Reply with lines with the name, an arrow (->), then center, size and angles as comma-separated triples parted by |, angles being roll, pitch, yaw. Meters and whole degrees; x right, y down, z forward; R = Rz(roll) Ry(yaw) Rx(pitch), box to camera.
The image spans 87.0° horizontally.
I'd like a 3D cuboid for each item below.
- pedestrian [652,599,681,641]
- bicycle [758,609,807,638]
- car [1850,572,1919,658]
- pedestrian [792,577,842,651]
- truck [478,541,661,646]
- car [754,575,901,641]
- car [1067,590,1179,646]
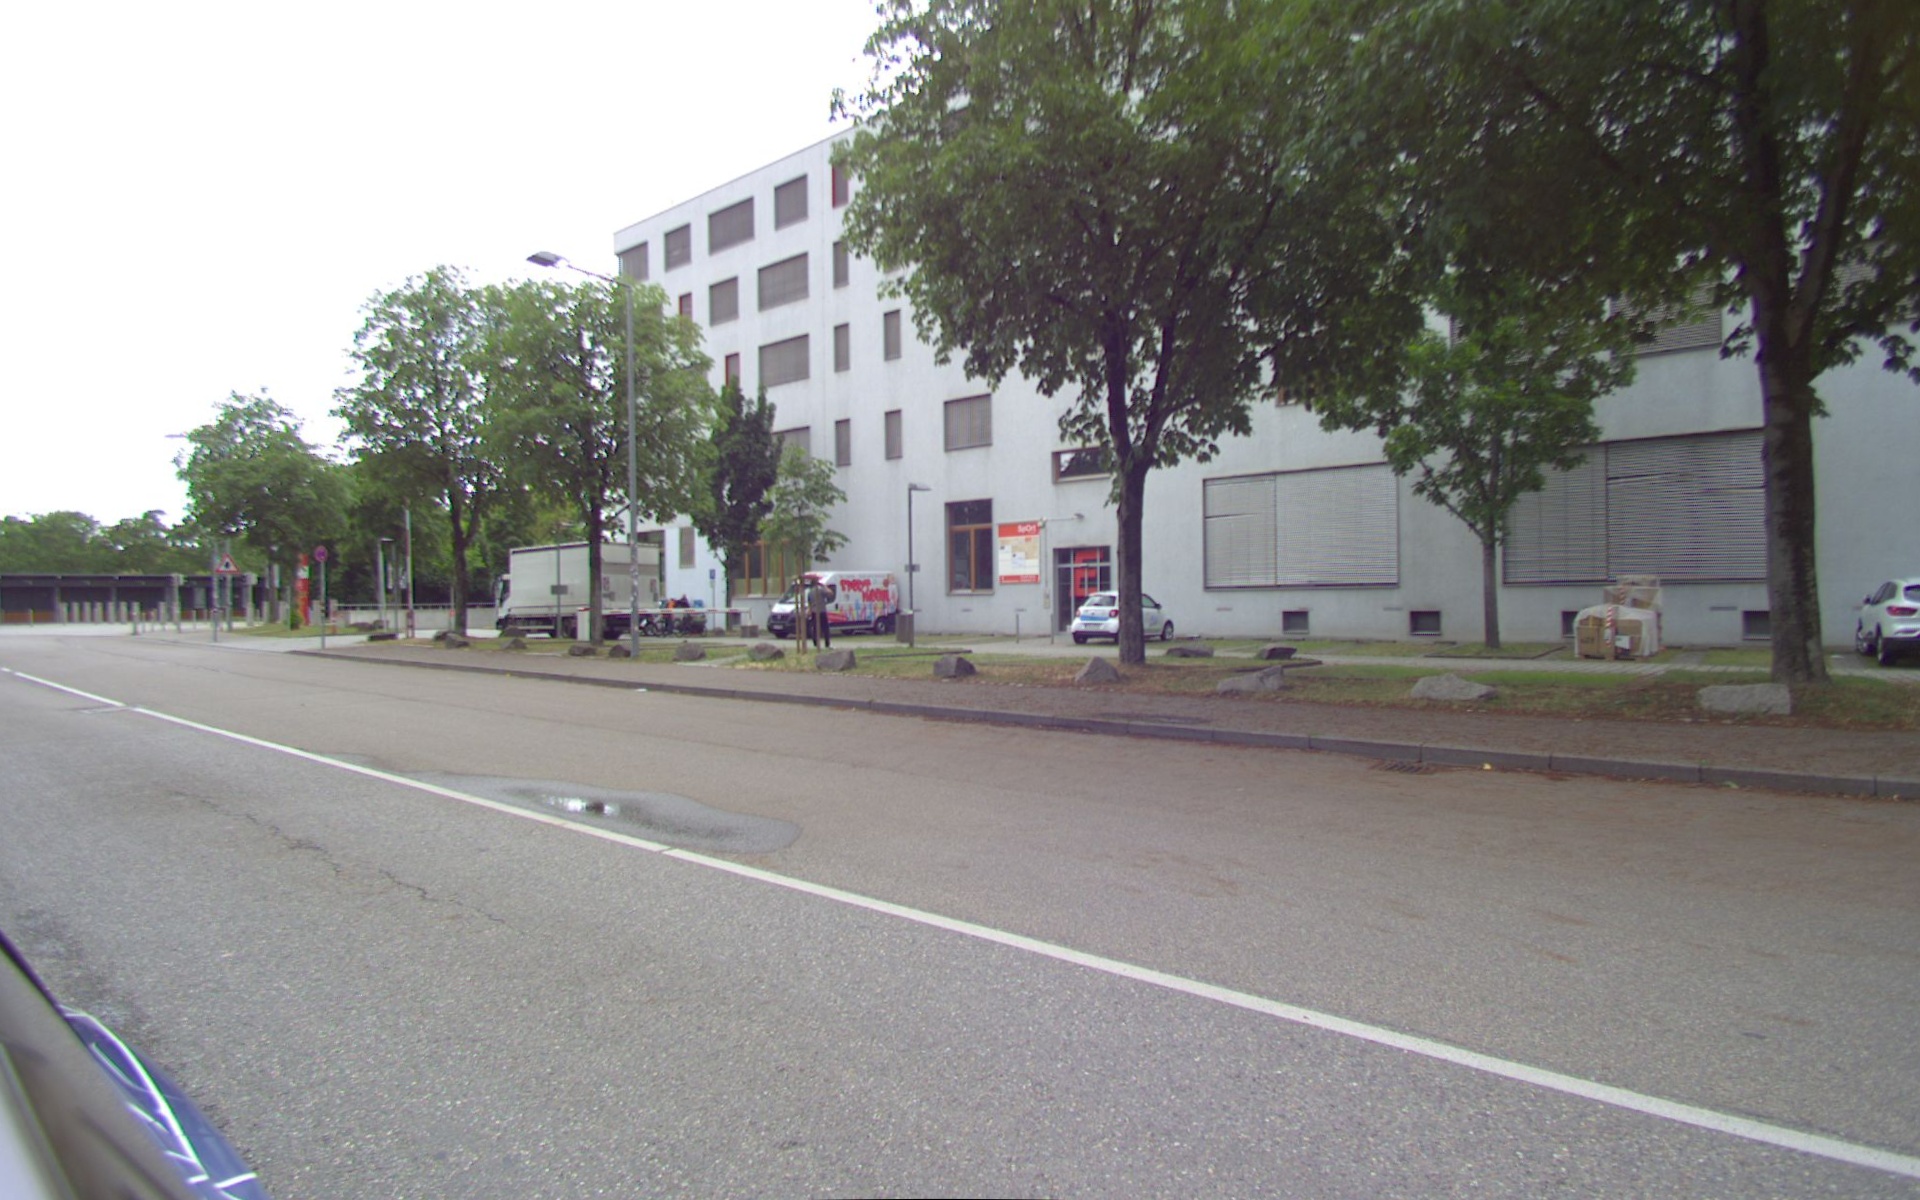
pedestrian -> -11.461, 0.768, 39.556 | 0.877, 1.618, 0.678 | 0, 1, 7
bicycle -> -7.258, 0.946, 41.437 | 0.614, 1.078, 2.002 | 0, 2, 44
car -> 17.931, 0.213, 18.653 | 1.896, 1.467, 3.963 | 0, 1, 36
pedestrian -> -3.328, 0.306, 23.510 | 0.785, 1.684, 0.836 | 0, 1, 34
truck -> -15.091, -0.279, 38.767 | 8.354, 3.627, 2.651 | 0, 1, 38
car -> -4.898, 0.218, 38.121 | 2.078, 2.296, 5.569 | 0, 1, 40
car -> 4.866, 0.481, 29.870 | 1.691, 1.511, 3.576 | 0, 1, 40
